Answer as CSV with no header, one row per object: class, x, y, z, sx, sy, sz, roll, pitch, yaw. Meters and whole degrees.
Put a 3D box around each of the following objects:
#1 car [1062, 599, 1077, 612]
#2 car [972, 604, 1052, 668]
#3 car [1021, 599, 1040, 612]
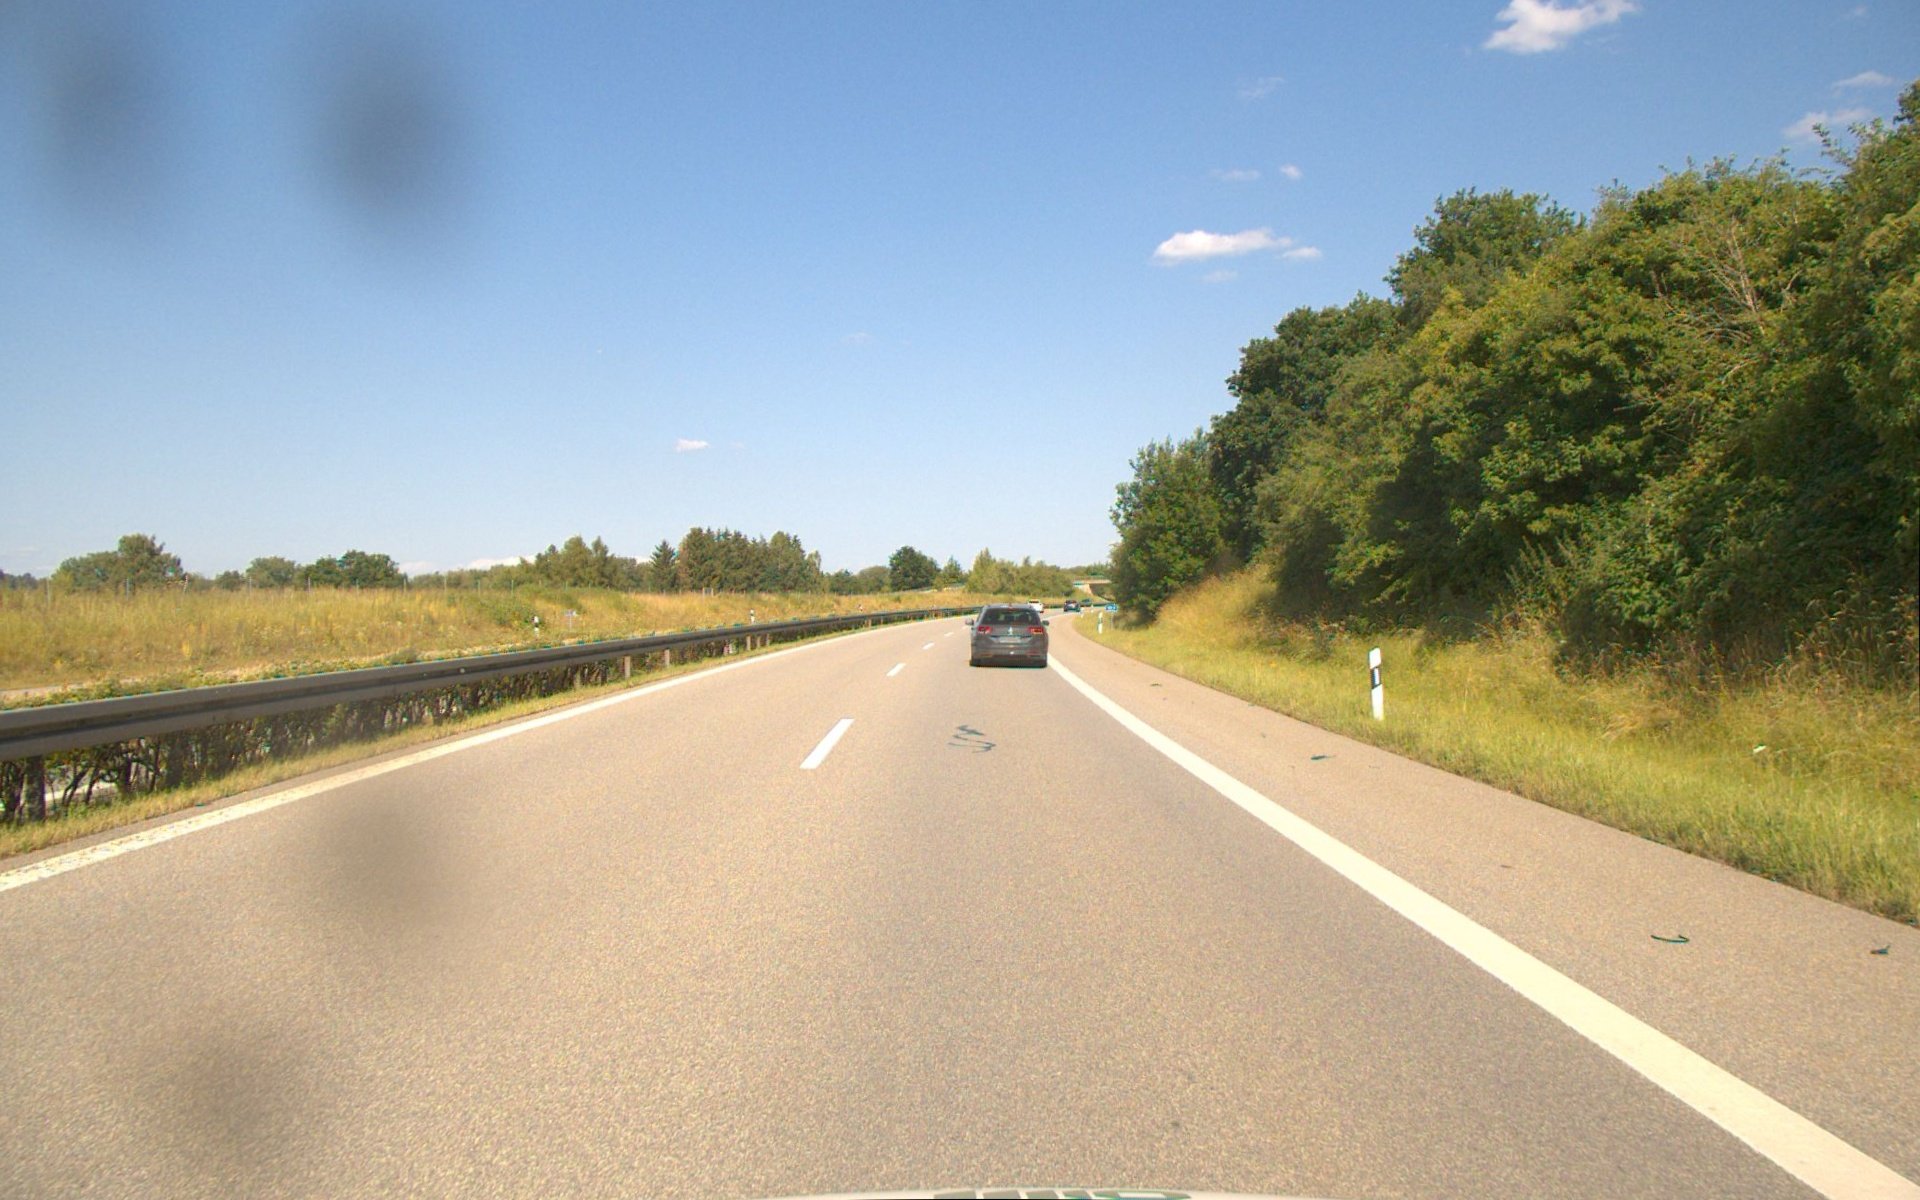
car,13.522,0.673,204.549,1.674,1.411,3.357,1,-1,7
car,1.206,0.827,38.637,1.754,1.368,4.000,1,-1,1
car,7.717,0.617,181.047,1.965,1.368,4.002,1,-1,4
